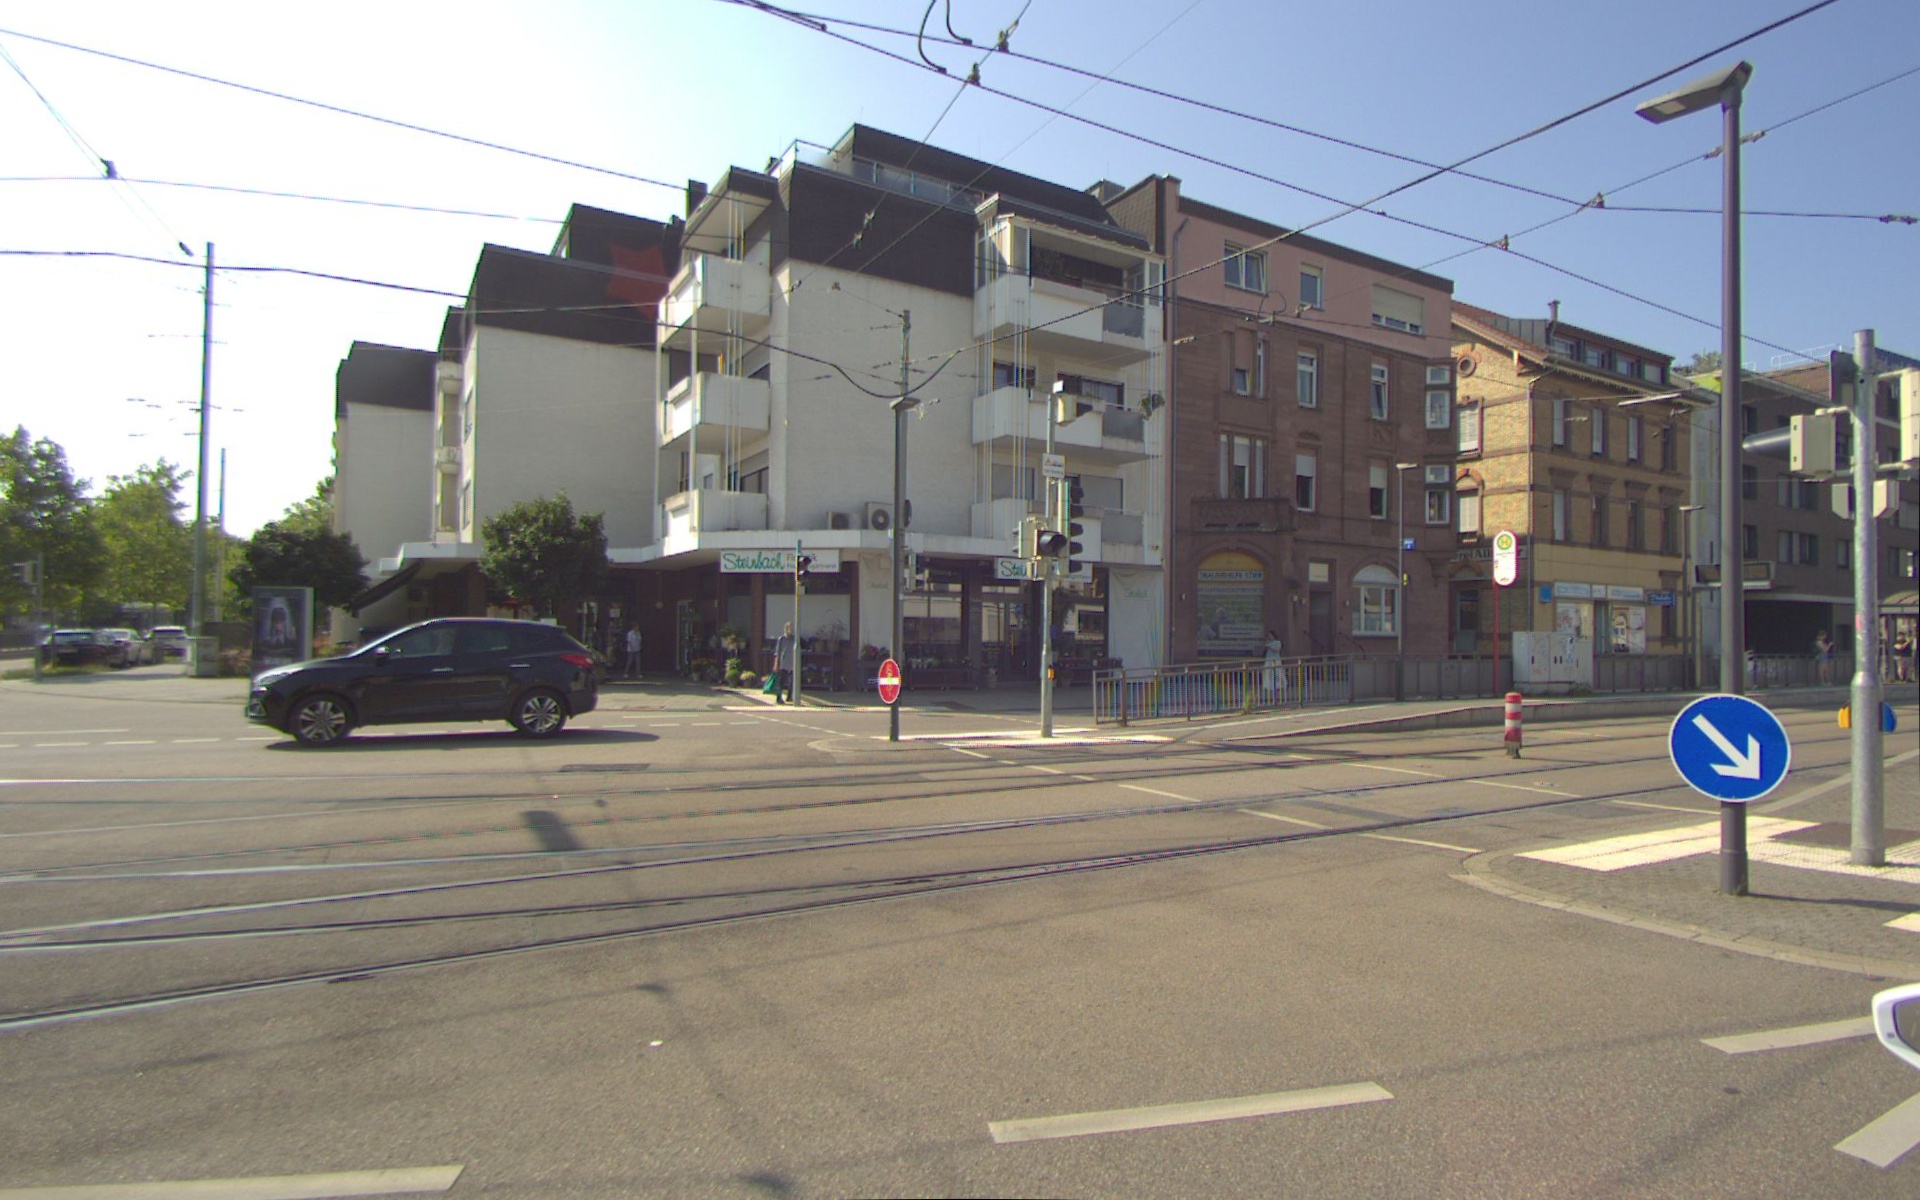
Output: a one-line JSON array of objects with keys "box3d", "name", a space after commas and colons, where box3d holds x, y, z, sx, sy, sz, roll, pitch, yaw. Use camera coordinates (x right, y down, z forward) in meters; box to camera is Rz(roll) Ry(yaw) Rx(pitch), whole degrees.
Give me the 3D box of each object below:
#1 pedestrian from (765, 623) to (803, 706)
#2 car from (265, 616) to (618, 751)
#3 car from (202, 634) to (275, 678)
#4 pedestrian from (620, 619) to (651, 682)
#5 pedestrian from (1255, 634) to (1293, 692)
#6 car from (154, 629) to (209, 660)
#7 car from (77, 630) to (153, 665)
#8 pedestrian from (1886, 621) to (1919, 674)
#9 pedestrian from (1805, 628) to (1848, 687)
[{"box3d": [-3.830, 1.408, 21.831, 0.589, 1.768, 0.565, -2, -3, 26], "name": "pedestrian"}, {"box3d": [-7.238, 1.133, 14.314, 4.199, 1.676, 1.805, 2, -3, -30], "name": "car"}, {"box3d": [-28.170, 2.153, 39.318, 1.908, 1.527, 4.089, 2, -2, -31], "name": "car"}, {"box3d": [-9.273, 1.455, 28.665, 0.690, 1.763, 0.676, 2, -4, -31], "name": "pedestrian"}, {"box3d": [8.919, 1.784, 28.509, 0.873, 1.580, 0.482, 2, -1, -20], "name": "pedestrian"}, {"box3d": [-39.025, 2.262, 50.415, 1.654, 1.500, 3.887, 2, -4, -31], "name": "car"}, {"box3d": [-33.159, 1.911, 39.525, 1.654, 1.316, 4.088, 2, -4, -32], "name": "car"}, {"box3d": [31.646, 1.594, 33.615, 0.790, 1.770, 0.705, 2, -4, -30], "name": "pedestrian"}, {"box3d": [26.058, 1.719, 30.213, 0.790, 1.746, 0.705, 2, -4, -30], "name": "pedestrian"}]
